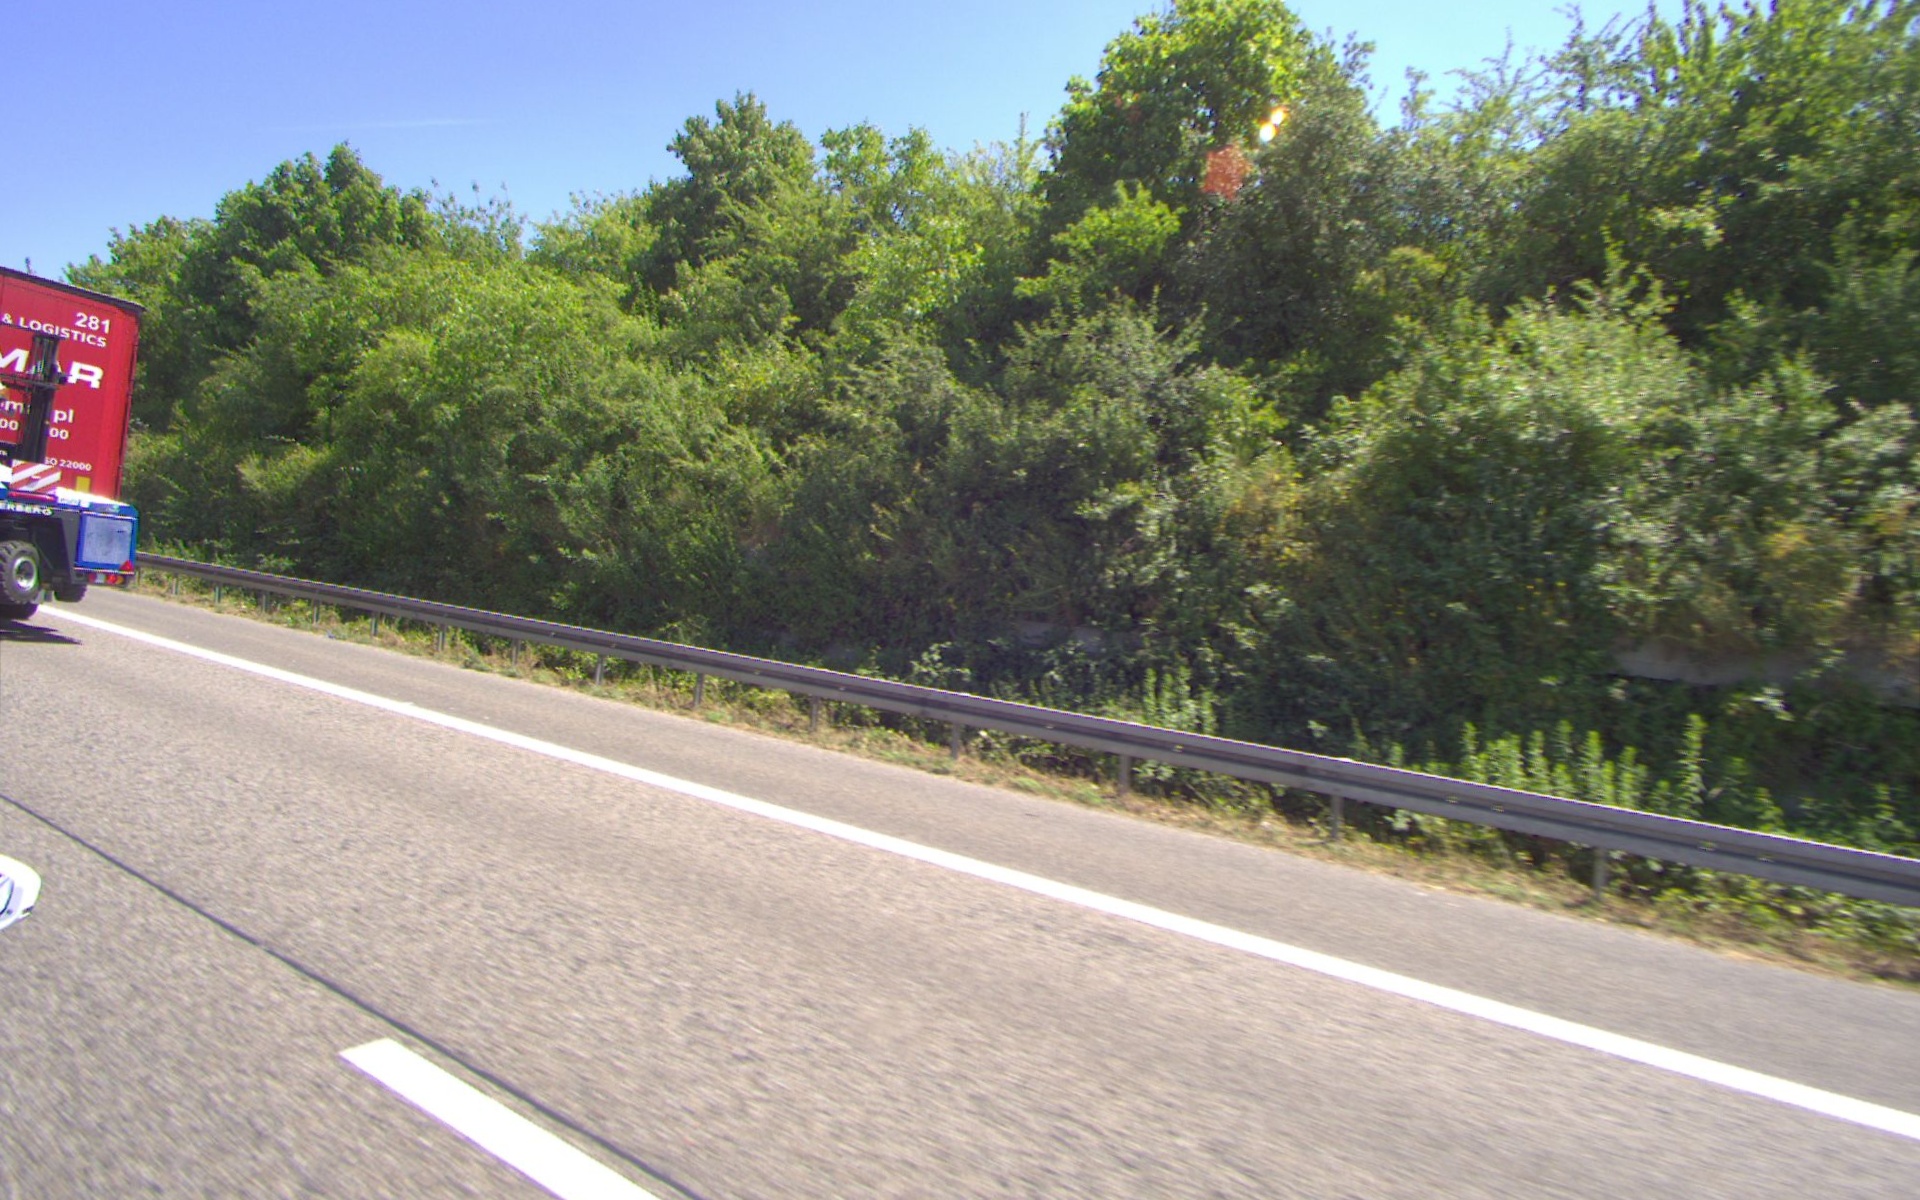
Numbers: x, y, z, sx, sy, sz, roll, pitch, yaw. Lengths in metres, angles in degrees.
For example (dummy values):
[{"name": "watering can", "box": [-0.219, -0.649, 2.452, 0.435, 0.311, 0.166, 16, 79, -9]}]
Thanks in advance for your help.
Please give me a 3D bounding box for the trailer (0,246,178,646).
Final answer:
[{"name": "trailer", "box": [-15.640, -2.205, 14.001, 14.010, 3.956, 2.494, 6, -1, 32]}]
